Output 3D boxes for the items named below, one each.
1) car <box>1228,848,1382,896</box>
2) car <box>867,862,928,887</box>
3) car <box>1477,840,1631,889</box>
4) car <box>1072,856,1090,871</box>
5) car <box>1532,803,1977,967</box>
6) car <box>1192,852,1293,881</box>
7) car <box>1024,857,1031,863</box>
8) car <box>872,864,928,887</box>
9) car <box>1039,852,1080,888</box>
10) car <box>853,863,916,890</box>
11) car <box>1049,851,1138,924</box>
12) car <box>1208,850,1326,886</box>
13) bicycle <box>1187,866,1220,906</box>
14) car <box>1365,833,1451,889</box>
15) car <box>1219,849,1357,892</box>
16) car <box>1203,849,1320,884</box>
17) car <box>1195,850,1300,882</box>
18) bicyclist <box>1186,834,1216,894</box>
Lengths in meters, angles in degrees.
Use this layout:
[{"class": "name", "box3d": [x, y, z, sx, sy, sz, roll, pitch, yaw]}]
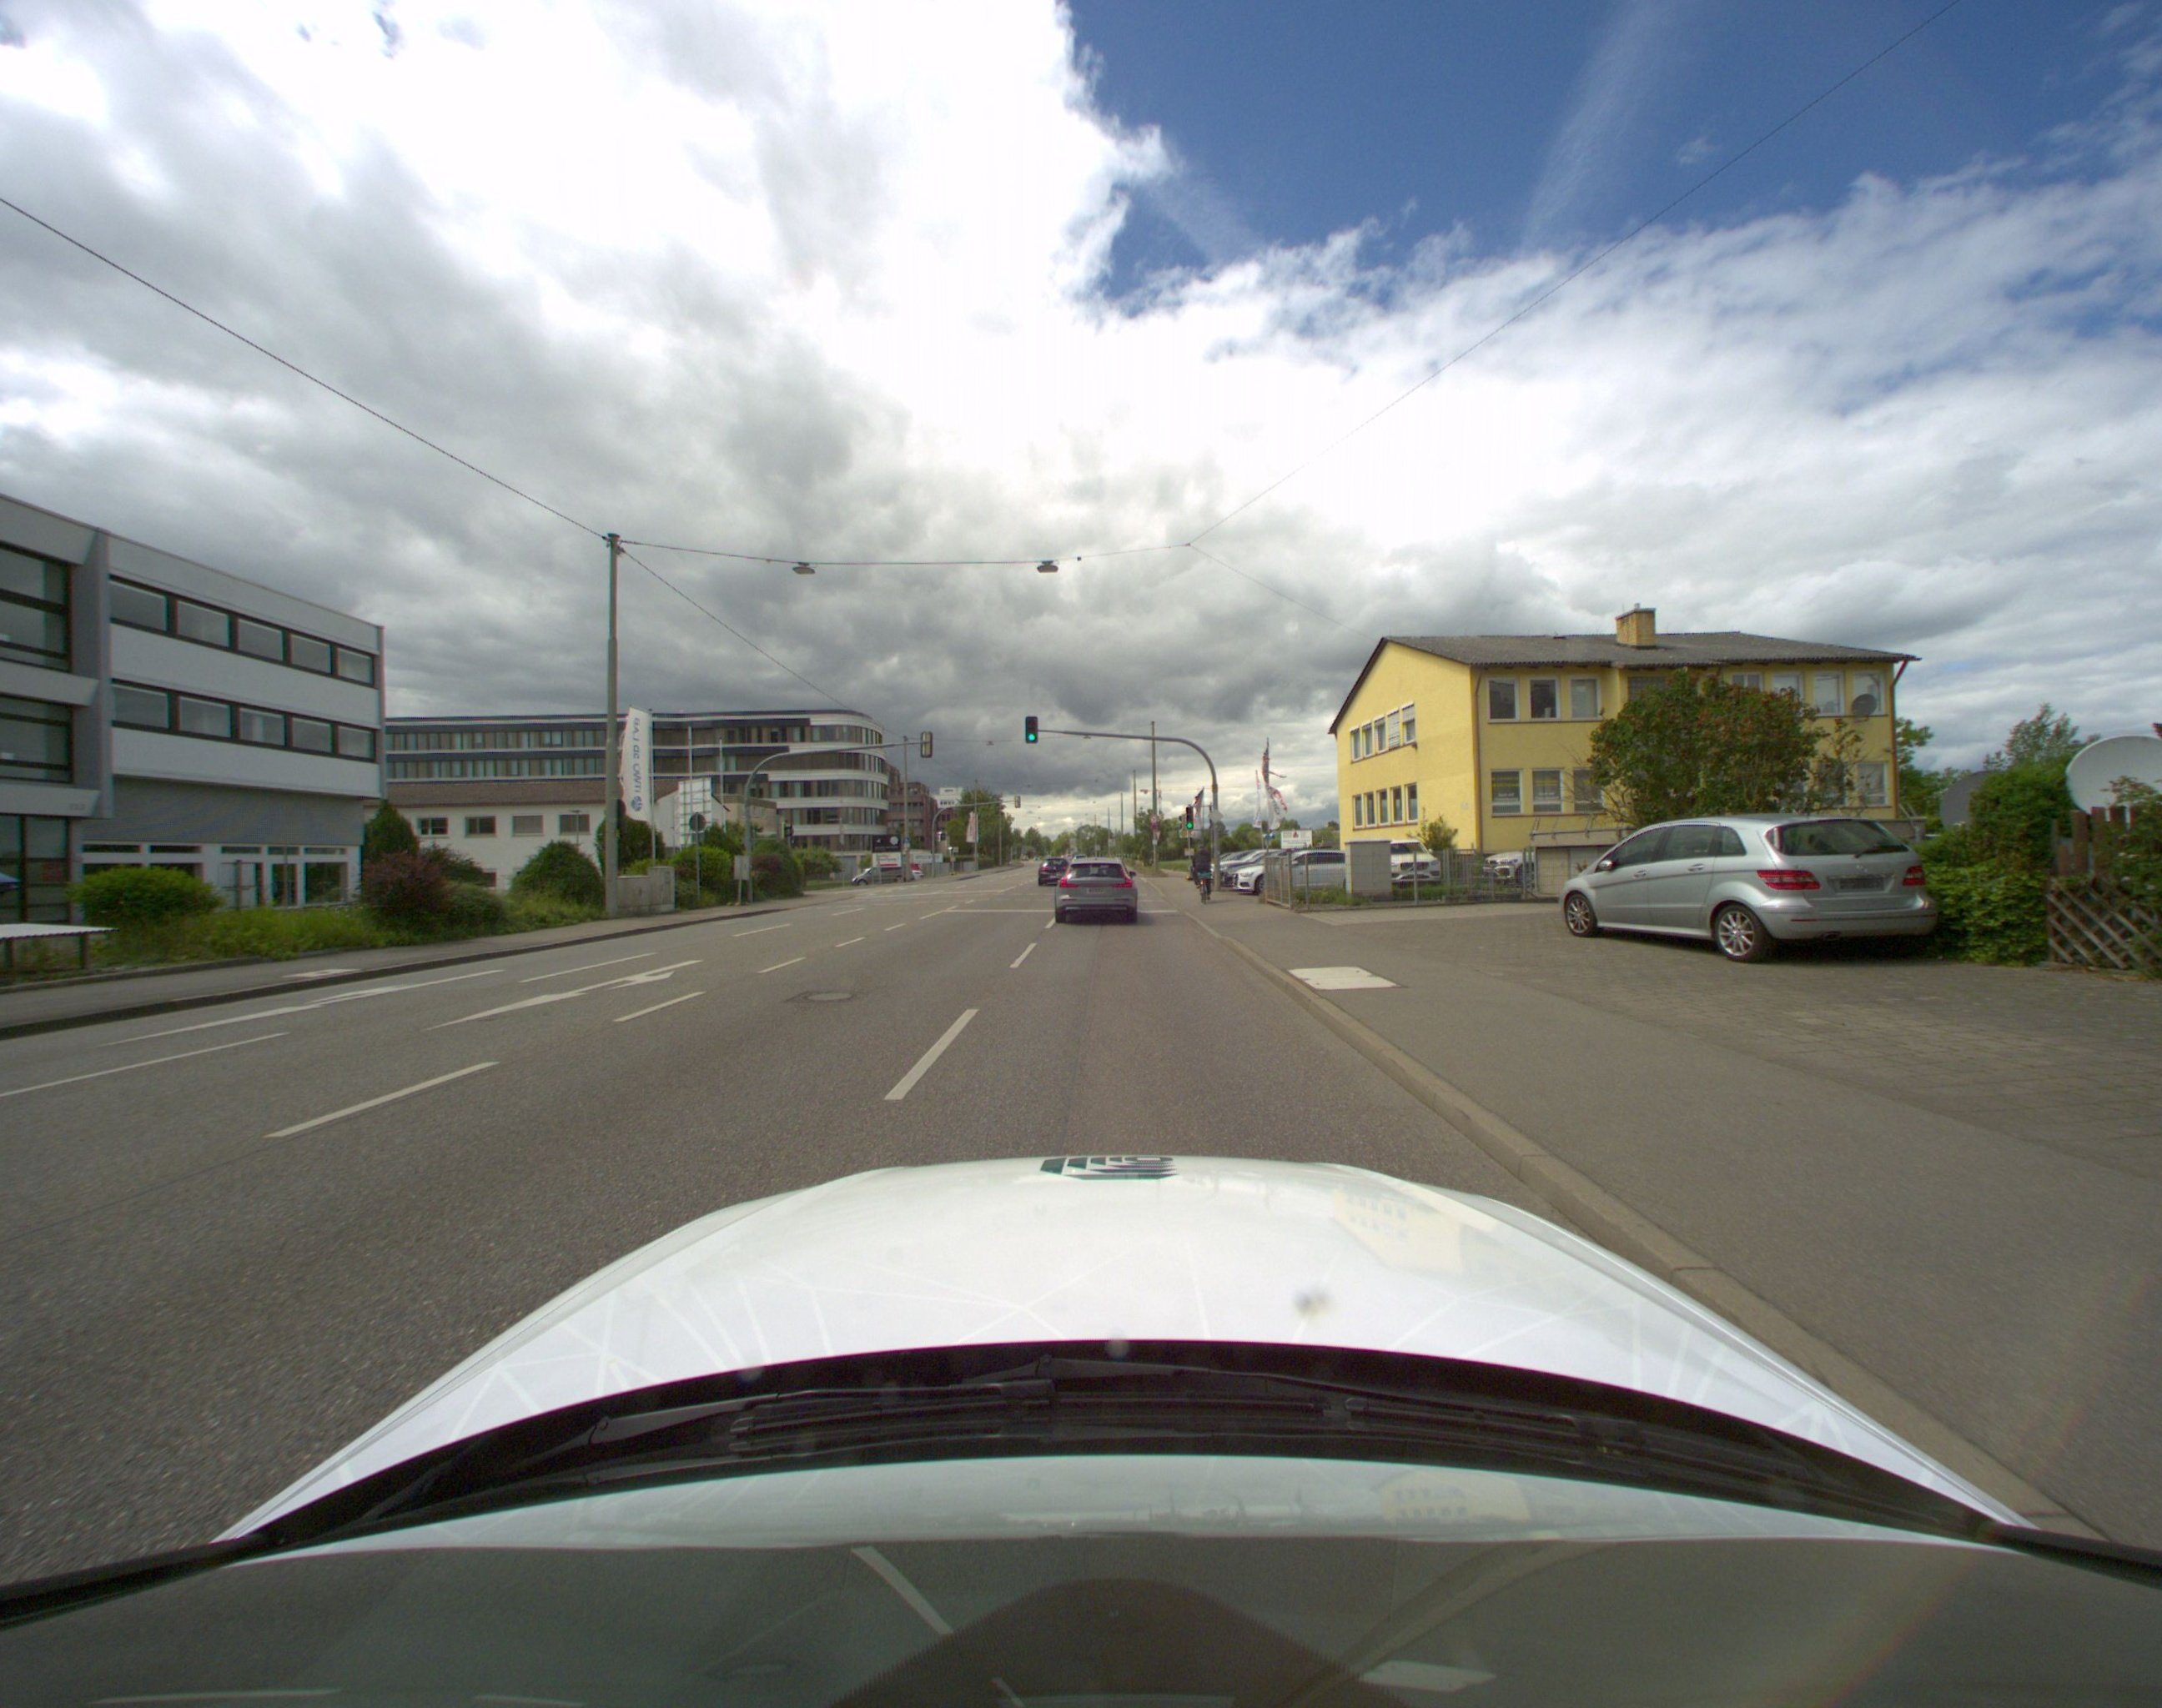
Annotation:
[{"class": "car", "box3d": [7.463, 0.583, 27.487, 4.680, 1.493, 2.046, -1, 0, 0]}, {"class": "car", "box3d": [-14.333, 1.617, 63.836, 4.217, 1.387, 1.981, -7, -1, -5]}, {"class": "car", "box3d": [15.726, 0.332, 27.240, 4.113, 1.581, 1.859, 0, 0, 0]}, {"class": "car", "box3d": [-0.029, 1.148, 93.657, 1.987, 1.695, 4.000, 0, -1, 1]}, {"class": "car", "box3d": [7.869, 0.305, 10.262, 1.869, 1.545, 4.521, -2, 0, 0]}, {"class": "car", "box3d": [8.162, 0.614, 41.470, 4.834, 1.430, 2.039, 0, 0, 1]}, {"class": "car", "box3d": [-17.019, 1.993, 258.320, 1.876, 1.717, 3.999, 0, -1, 0]}, {"class": "car", "box3d": [-14.724, 1.727, 66.426, 3.976, 1.369, 1.847, -7, -1, -1]}, {"class": "car", "box3d": [-1.059, 0.802, 41.362, 1.988, 1.717, 3.998, 0, -1, -1]}, {"class": "car", "box3d": [-14.137, 1.604, 58.813, 4.088, 1.397, 1.904, -7, 1, -6]}, {"class": "car", "box3d": [0.367, 0.756, 19.474, 1.888, 1.554, 4.002, 0, -1, 3]}, {"class": "car", "box3d": [7.531, 0.562, 33.268, 4.355, 1.404, 1.988, 0, 0, -1]}, {"class": "bicycle", "box3d": [3.608, 0.915, 24.068, 0.635, 1.063, 1.978, -5, 0, 2]}, {"class": "car", "box3d": [11.867, 0.268, 29.913, 1.963, 1.821, 5.045, -2, -1, 11]}, {"class": "car", "box3d": [7.623, 0.590, 30.363, 4.642, 1.493, 2.035, -1, 0, 1]}, {"class": "car", "box3d": [7.915, 0.544, 36.075, 4.781, 1.480, 2.033, 0, 0, 2]}, {"class": "car", "box3d": [7.868, 0.555, 38.798, 4.658, 1.493, 2.016, 0, 0, 2]}, {"class": "bicyclist", "box3d": [3.551, 0.293, 24.139, 0.635, 1.675, 0.890, -5, -1, 2]}]
